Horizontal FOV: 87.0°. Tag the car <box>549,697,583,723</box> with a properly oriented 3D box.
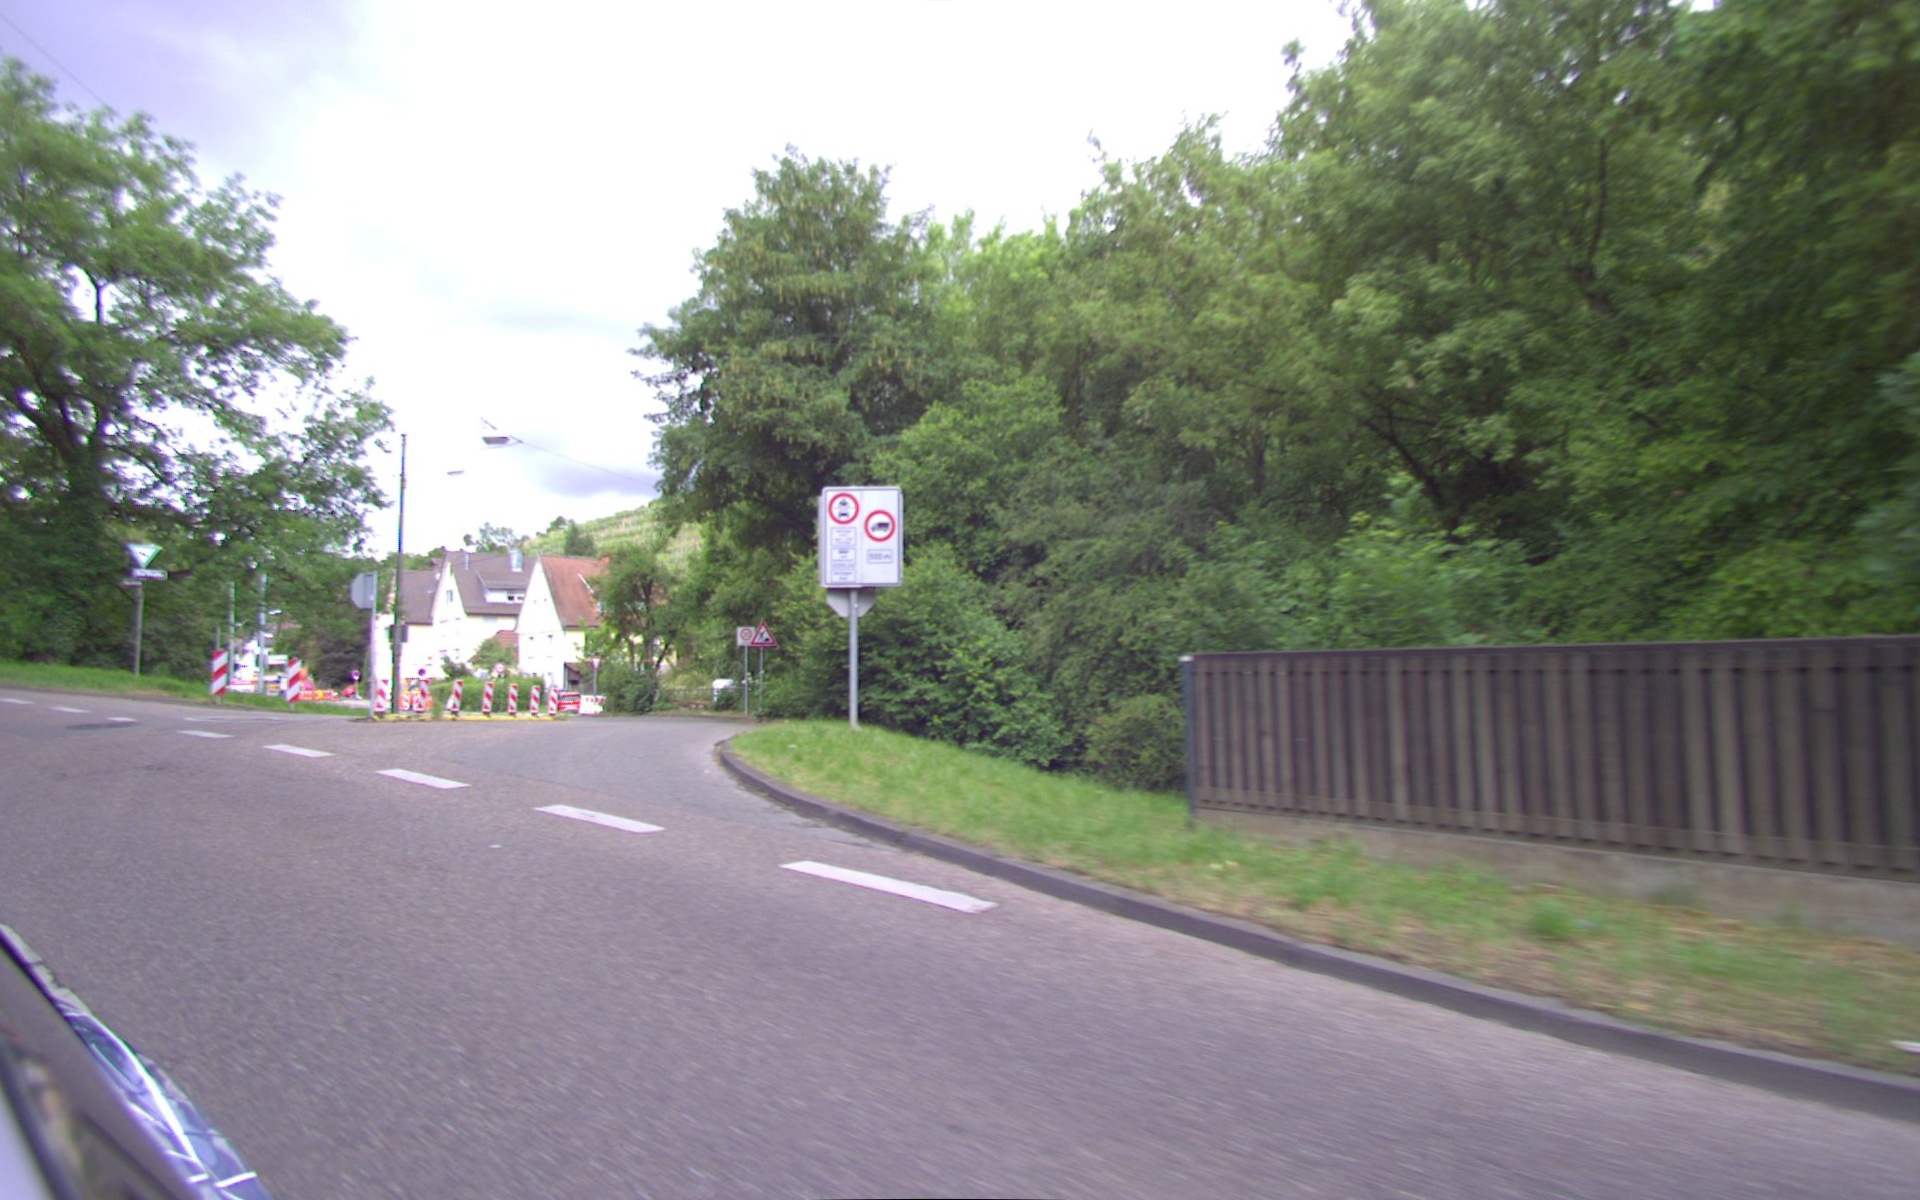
[{"bbox_3d":[-24.287,6.812,62.398,1.727,1.400,4.012,8,-8,-20],"label":"car"}]
